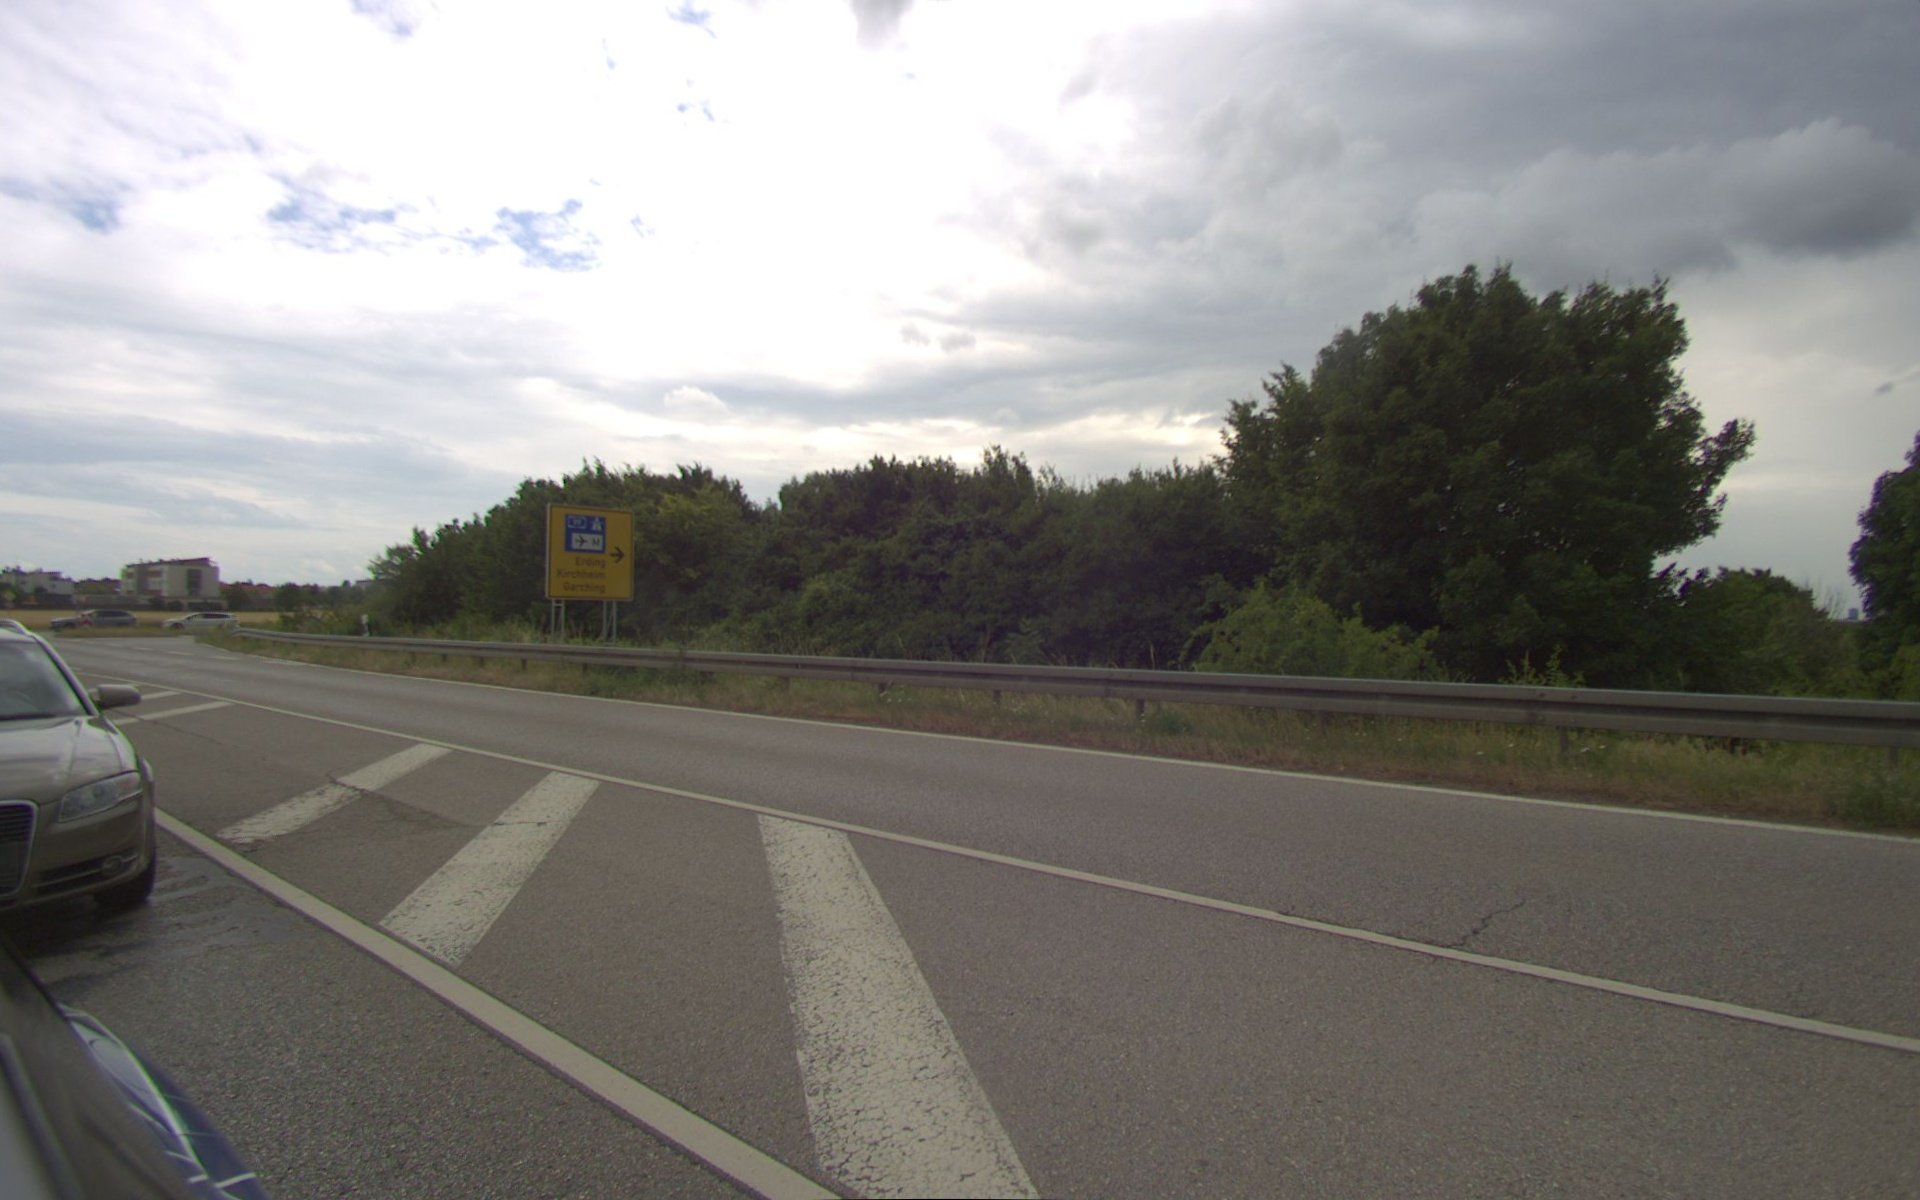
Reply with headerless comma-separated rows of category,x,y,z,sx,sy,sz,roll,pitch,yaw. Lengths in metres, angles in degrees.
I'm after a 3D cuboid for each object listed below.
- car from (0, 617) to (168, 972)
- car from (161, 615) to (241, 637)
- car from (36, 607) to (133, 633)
car,-5.727,0.821,5.320,4.202,1.455,1.708,-1,-1,41
car,-55.688,1.875,74.283,4.605,1.510,2.004,0,-1,-39
car,-60.015,1.363,69.428,1.997,1.702,4.757,-1,-1,37
